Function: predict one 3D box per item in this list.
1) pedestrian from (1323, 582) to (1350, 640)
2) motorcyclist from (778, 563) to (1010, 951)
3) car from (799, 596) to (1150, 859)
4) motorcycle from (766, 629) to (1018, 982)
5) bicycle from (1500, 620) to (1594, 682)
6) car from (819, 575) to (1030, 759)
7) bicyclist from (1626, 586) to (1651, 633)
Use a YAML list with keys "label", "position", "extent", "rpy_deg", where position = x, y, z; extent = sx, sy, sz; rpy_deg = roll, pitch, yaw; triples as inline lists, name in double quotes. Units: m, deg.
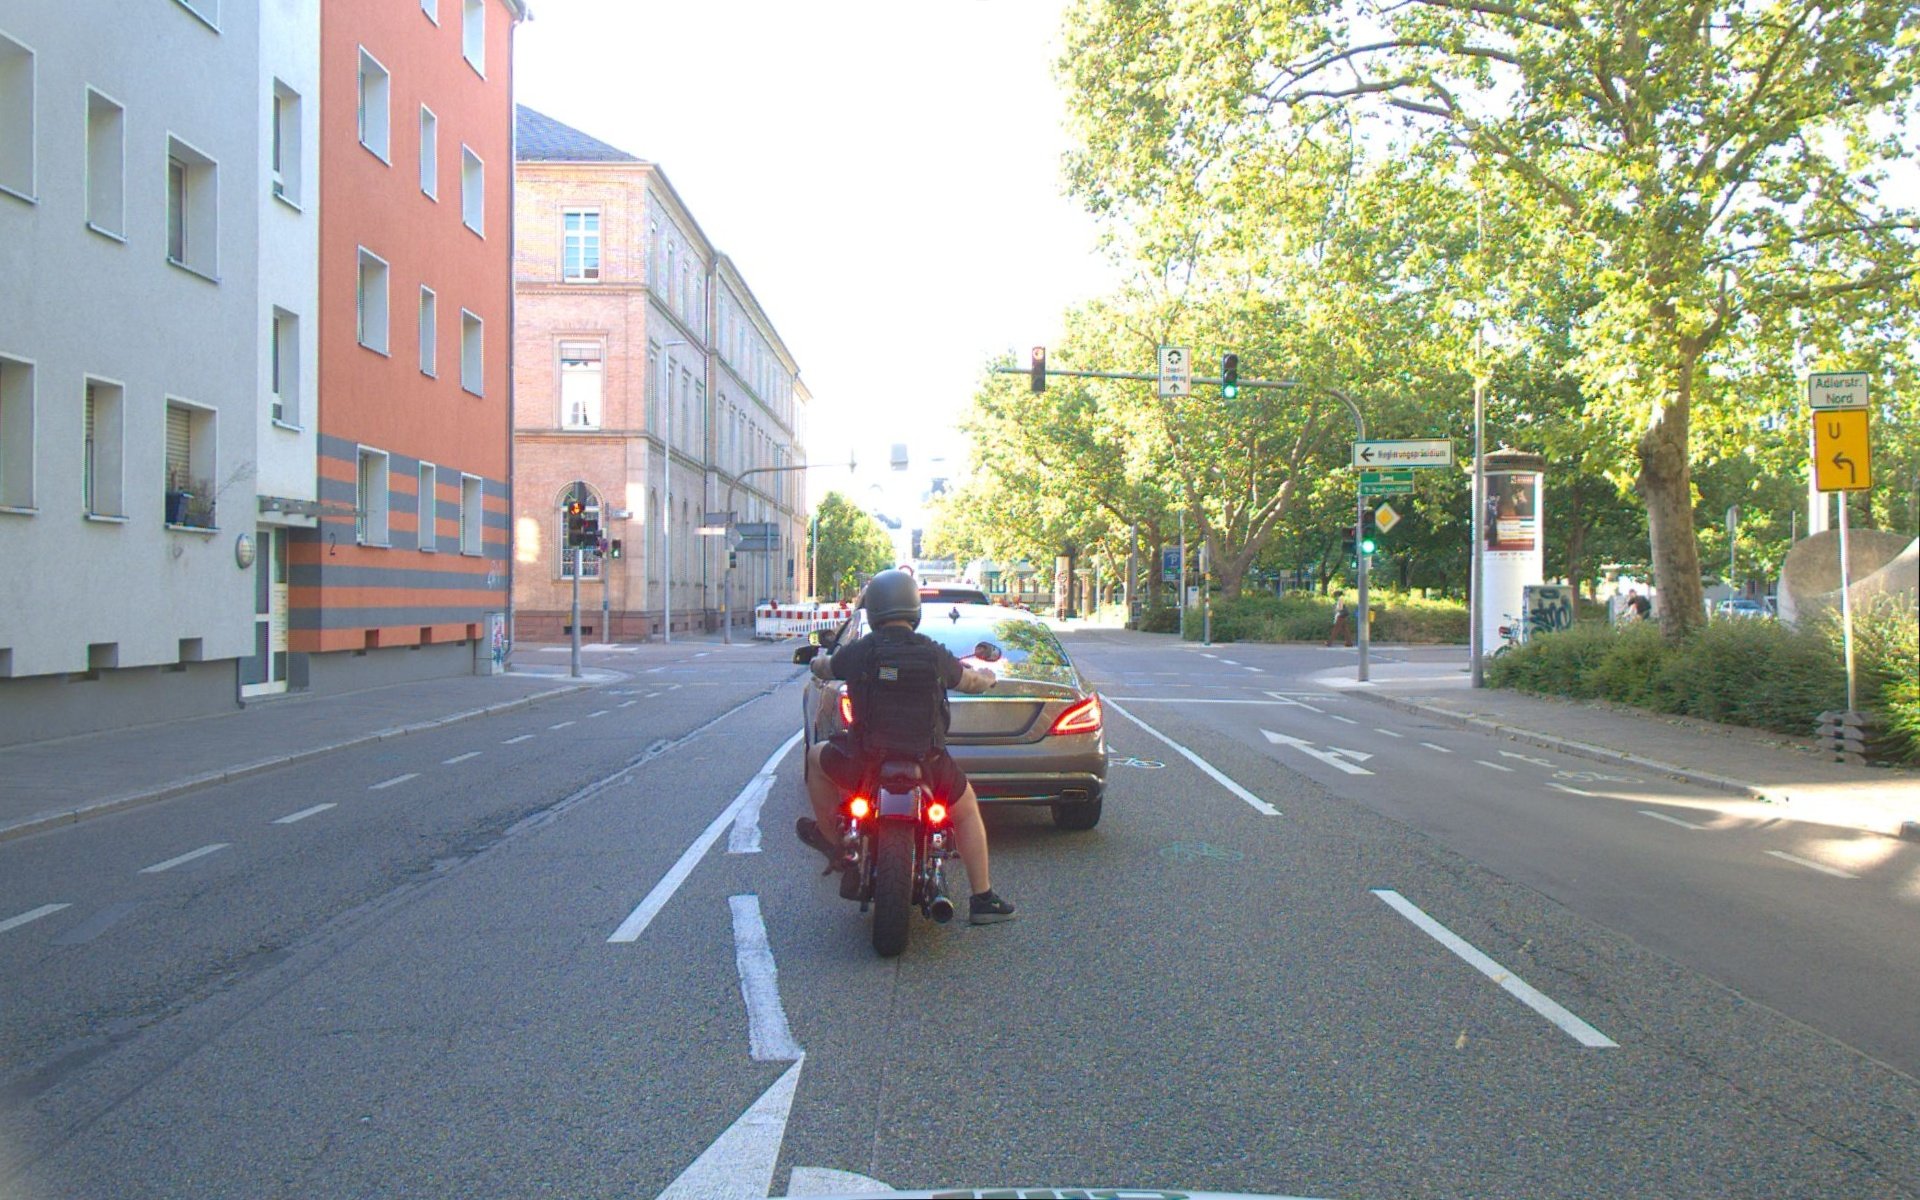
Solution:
- label: "pedestrian"
  position: [11.733, 0.341, 51.519]
  extent: [0.664, 1.803, 0.616]
  rpy_deg: [1, -1, 30]
- label: "motorcyclist"
  position: [-0.282, 0.648, 7.483]
  extent: [0.961, 1.606, 1.248]
  rpy_deg: [0, 0, -1]
- label: "car"
  position: [-0.114, 0.713, 11.619]
  extent: [1.834, 1.469, 4.422]
  rpy_deg: [0, 0, -8]
- label: "motorcycle"
  position: [-0.278, 0.810, 7.556]
  extent: [0.961, 1.297, 2.407]
  rpy_deg: [0, 0, -1]
- label: "bicycle"
  position: [9.787, 0.841, 27.595]
  extent: [1.452, 0.997, 0.299]
  rpy_deg: [1, -1, 5]
- label: "car"
  position: [-0.363, 0.637, 17.538]
  extent: [1.953, 1.695, 3.999]
  rpy_deg: [1, 0, -1]
- label: "bicyclist"
  position: [20.140, 0.272, 49.077]
  extent: [0.511, 1.371, 0.543]
  rpy_deg: [1, -1, 2]
